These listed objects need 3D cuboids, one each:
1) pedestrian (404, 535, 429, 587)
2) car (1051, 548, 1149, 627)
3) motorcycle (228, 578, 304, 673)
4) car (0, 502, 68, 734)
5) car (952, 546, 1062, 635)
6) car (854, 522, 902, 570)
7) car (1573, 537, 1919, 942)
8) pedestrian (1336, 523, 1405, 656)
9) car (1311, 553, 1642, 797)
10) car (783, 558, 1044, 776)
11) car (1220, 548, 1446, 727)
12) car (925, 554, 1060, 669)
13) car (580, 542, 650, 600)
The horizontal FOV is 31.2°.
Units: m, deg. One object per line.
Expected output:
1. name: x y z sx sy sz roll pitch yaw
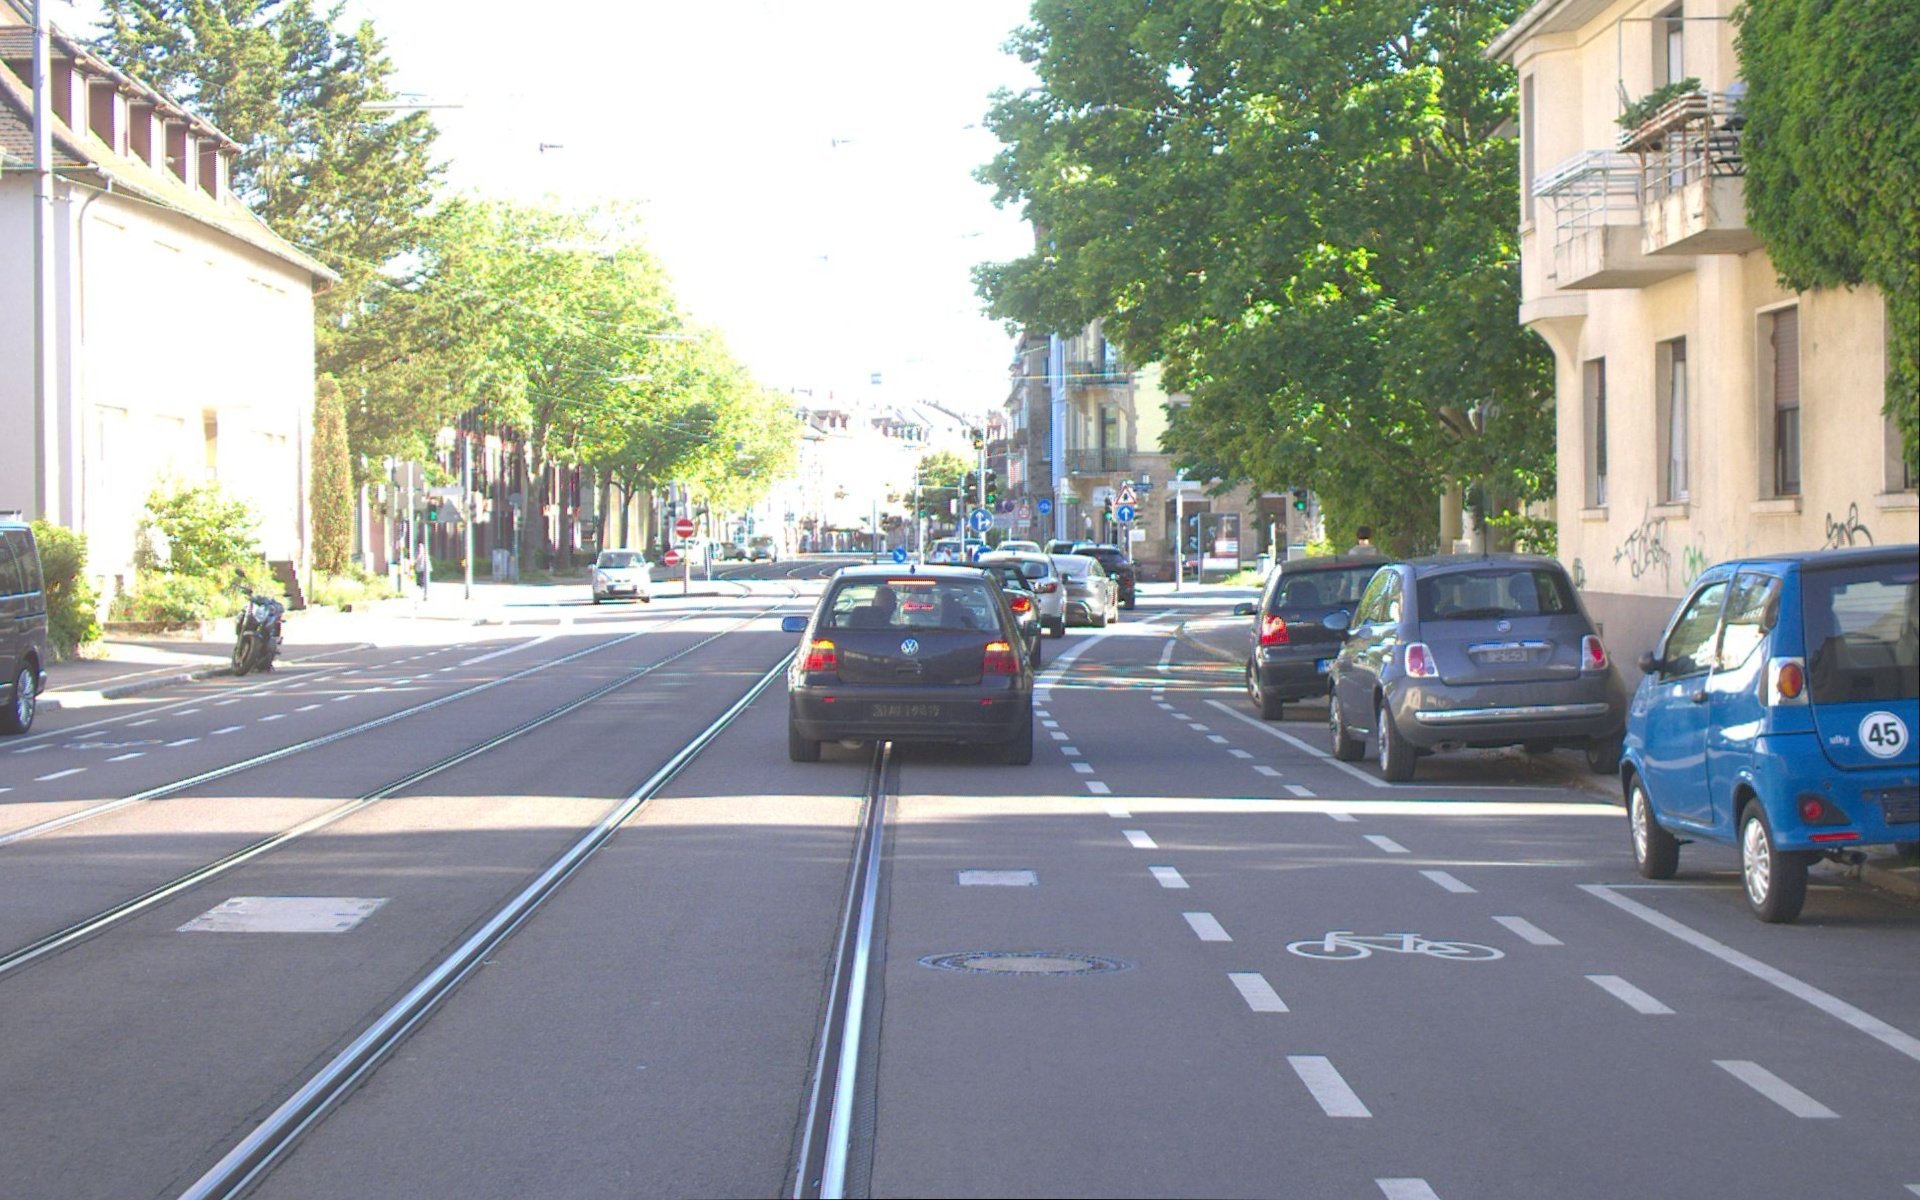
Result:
1. pedestrian: -17.860 -1.289 112.933 0.609 1.684 0.734 2 1 -19
2. car: 2.680 -0.268 66.487 1.569 1.306 3.648 -1 3 -3
3. motorcycle: -9.042 0.319 44.849 0.536 1.158 2.172 -2 1 0
4. car: -9.257 0.141 29.390 1.906 2.007 4.949 1 1 0
5. car: 0.831 -0.185 57.995 1.740 1.436 3.809 0 1 2
6. car: -3.302 -2.173 138.033 1.787 1.853 4.001 2 1 -2
7. car: 3.856 0.538 15.408 1.457 1.593 3.294 1 1 -3
8. pedestrian: 5.303 -0.137 44.438 0.717 1.682 0.870 -2 1 -2
9. car: 3.528 0.466 24.060 1.601 1.520 3.550 1 1 -3
10. car: -0.330 0.428 25.054 1.716 1.398 4.006 1 1 -1
11. car: 3.460 0.309 32.476 1.665 1.558 3.771 1 1 -1
12. car: 0.401 0.115 43.762 1.634 1.367 3.757 -1 1 0
13. car: -9.162 -0.777 91.451 1.575 1.472 3.441 -1 1 -1
